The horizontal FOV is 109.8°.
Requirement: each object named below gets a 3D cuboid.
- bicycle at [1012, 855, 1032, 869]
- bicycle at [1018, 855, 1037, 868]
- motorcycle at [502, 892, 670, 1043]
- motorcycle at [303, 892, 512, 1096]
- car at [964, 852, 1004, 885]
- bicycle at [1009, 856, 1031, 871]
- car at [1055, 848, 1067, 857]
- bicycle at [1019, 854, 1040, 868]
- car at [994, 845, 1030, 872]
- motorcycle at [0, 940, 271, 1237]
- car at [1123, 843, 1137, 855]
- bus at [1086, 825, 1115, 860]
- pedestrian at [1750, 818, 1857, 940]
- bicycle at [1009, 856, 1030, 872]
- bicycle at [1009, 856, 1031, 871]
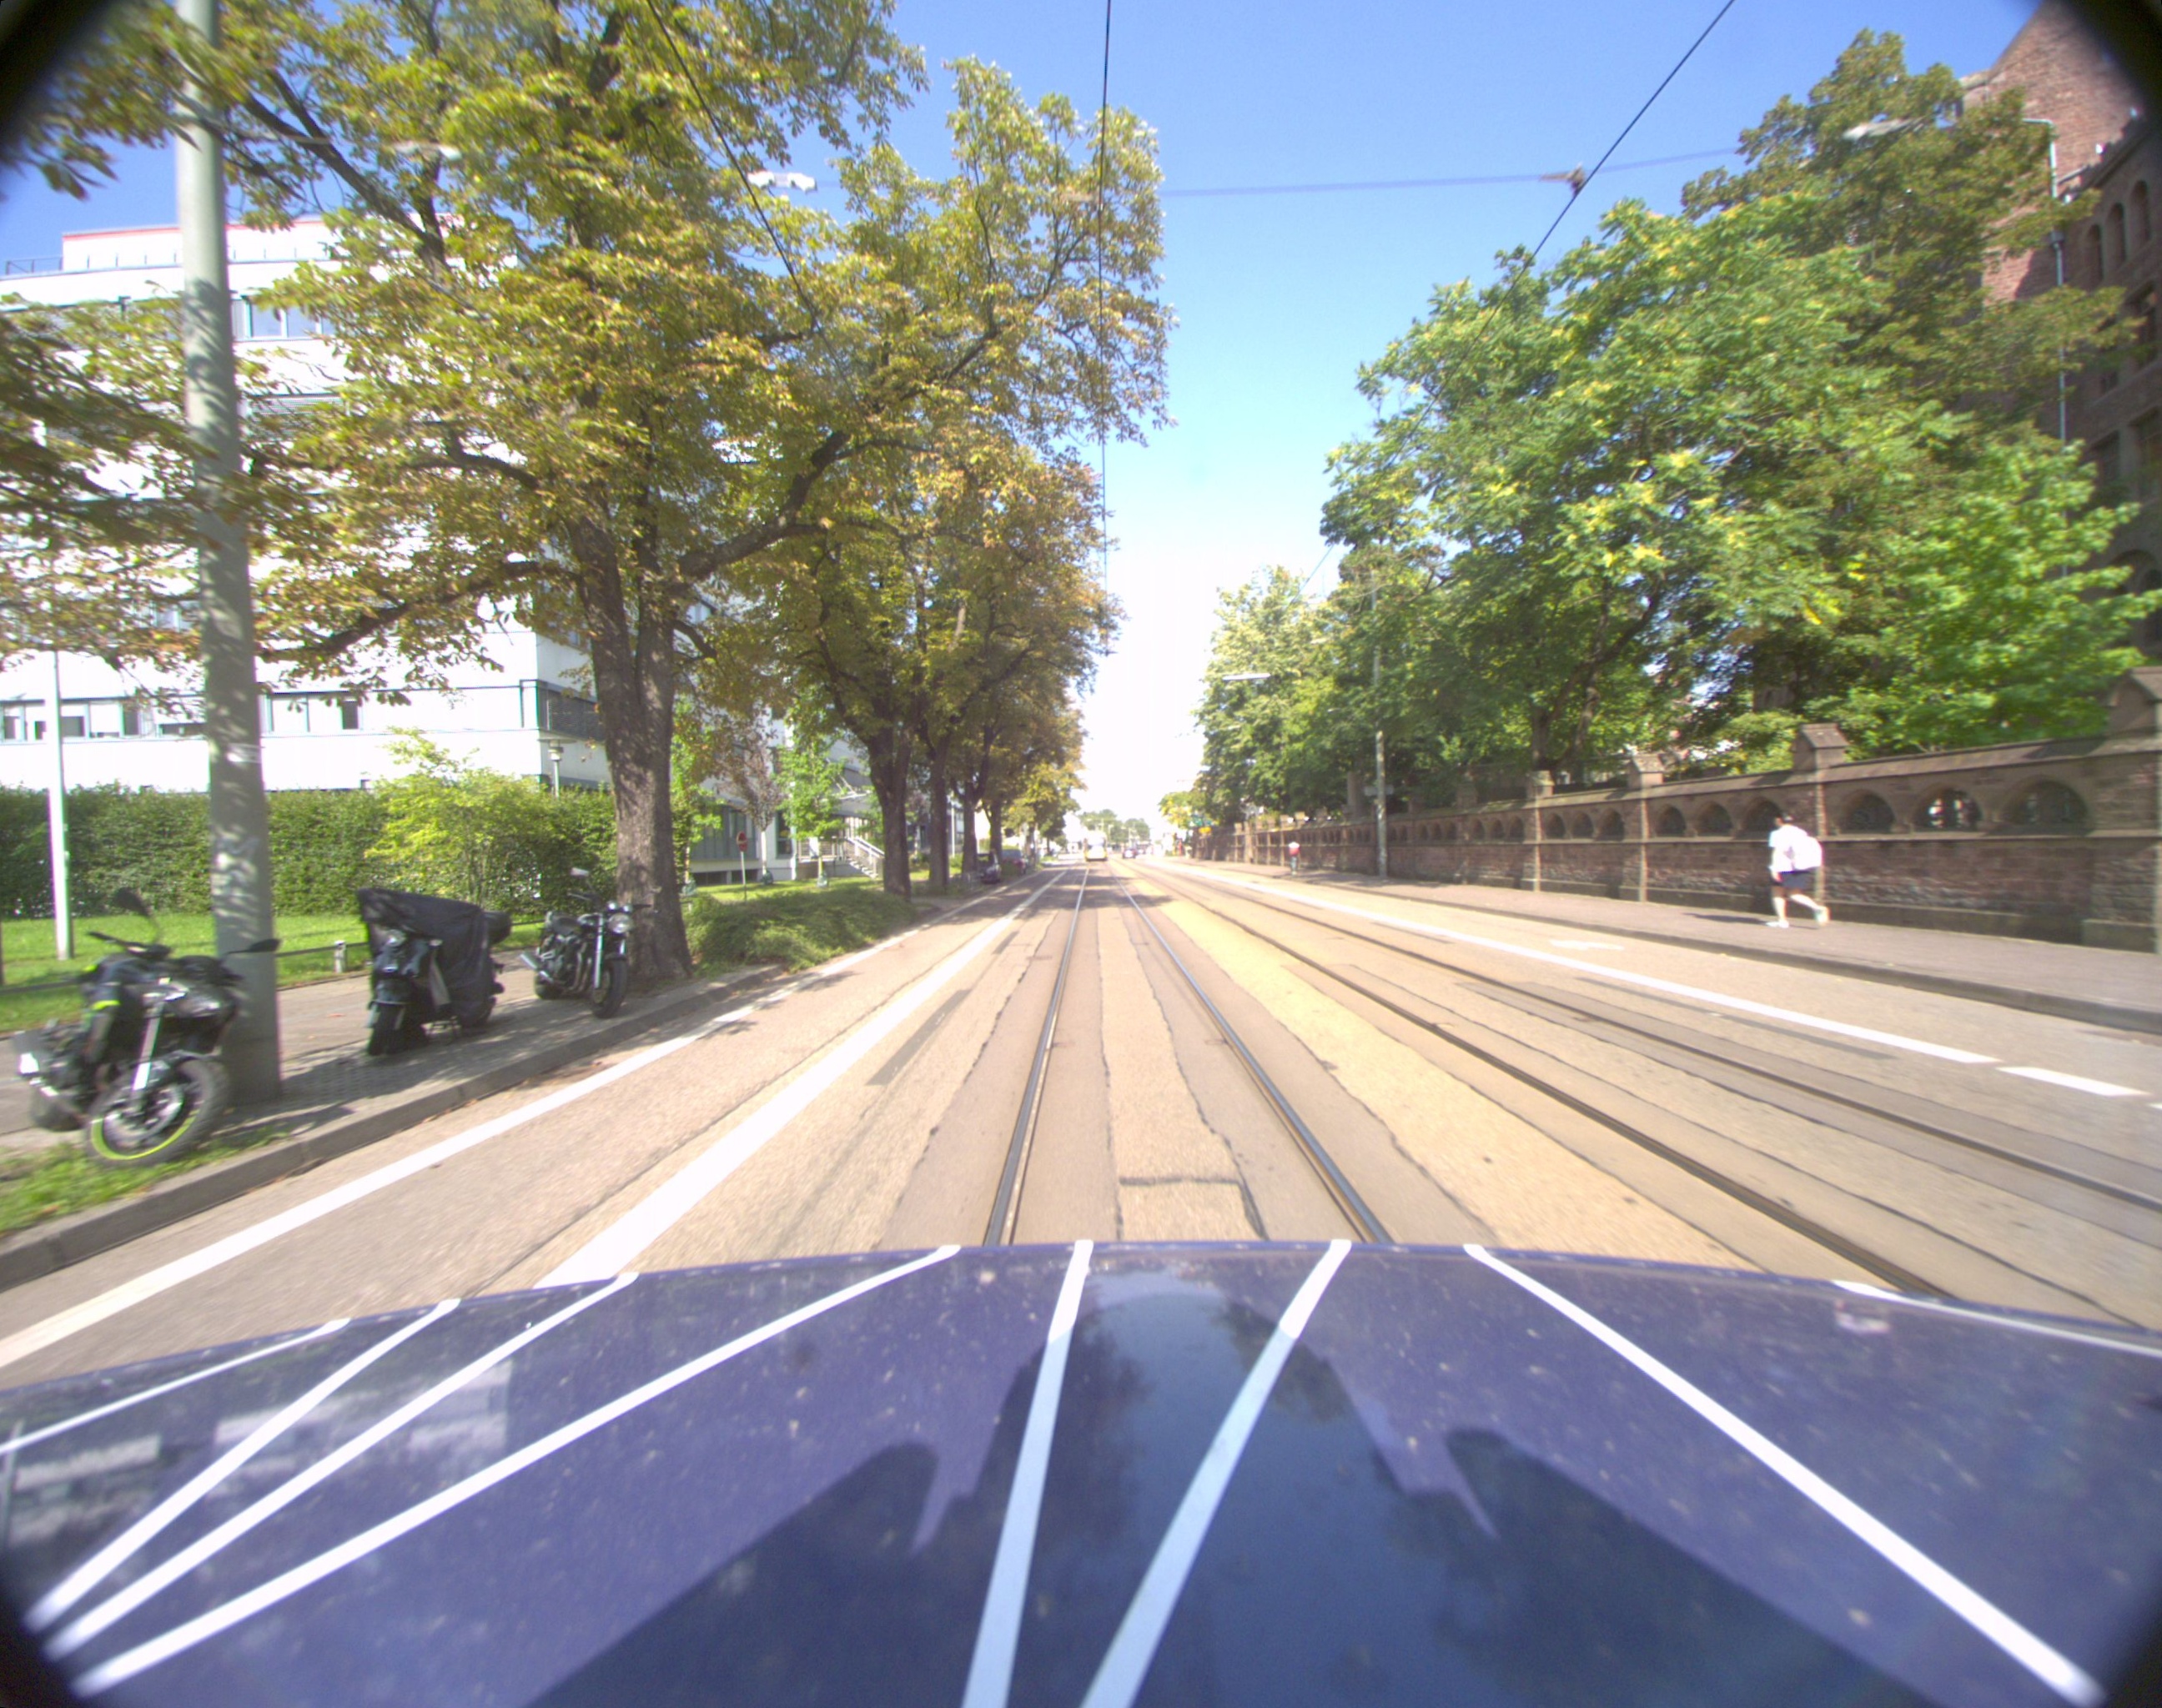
[{"bbox_3d":[-4.455,0.610,57.685,1.460,1.009,0.382,-1,1,-2],"label":"bicycle"},{"bbox_3d":[-4.187,0.571,59.424,1.460,1.009,0.382,-1,1,-2],"label":"bicycle"},{"bbox_3d":[-5.097,1.065,7.770,2.061,1.236,0.846,1,2,40],"label":"motorcycle"},{"bbox_3d":[-5.662,1.063,6.560,0.846,1.319,2.062,-1,1,-28],"label":"motorcycle"},{"bbox_3d":[-4.645,0.648,36.784,1.566,1.433,3.563,1,1,-1],"label":"car"},{"bbox_3d":[-4.265,0.682,52.992,1.460,1.009,0.382,-1,1,-2],"label":"bicycle"},{"bbox_3d":[-3.849,-0.292,145.246,1.755,1.598,4.000,-2,1,4],"label":"car"},{"bbox_3d":[-4.037,0.557,59.898,1.621,1.009,0.382,-1,1,-2],"label":"bicycle"},{"bbox_3d":[-4.394,0.279,48.921,1.866,1.644,4.183,0,1,0],"label":"car"},{"bbox_3d":[-5.363,1.151,4.174,1.984,1.218,0.647,-1,2,26],"label":"motorcycle"},{"bbox_3d":[6.504,-0.676,101.343,1.694,1.434,3.999,-2,1,1],"label":"car"},{"bbox_3d":[2.353,-1.371,88.269,2.900,3.772,9.319,-2,1,3],"label":"bus"},{"bbox_3d":[9.863,0.327,10.395,0.717,1.580,0.775,-2,2,1],"label":"pedestrian"},{"bbox_3d":[-4.248,0.683,52.566,1.460,1.009,0.382,-1,1,-2],"label":"bicycle"},{"bbox_3d":[-4.299,0.676,53.406,1.460,1.009,0.382,-1,1,-2],"label":"bicycle"}]
